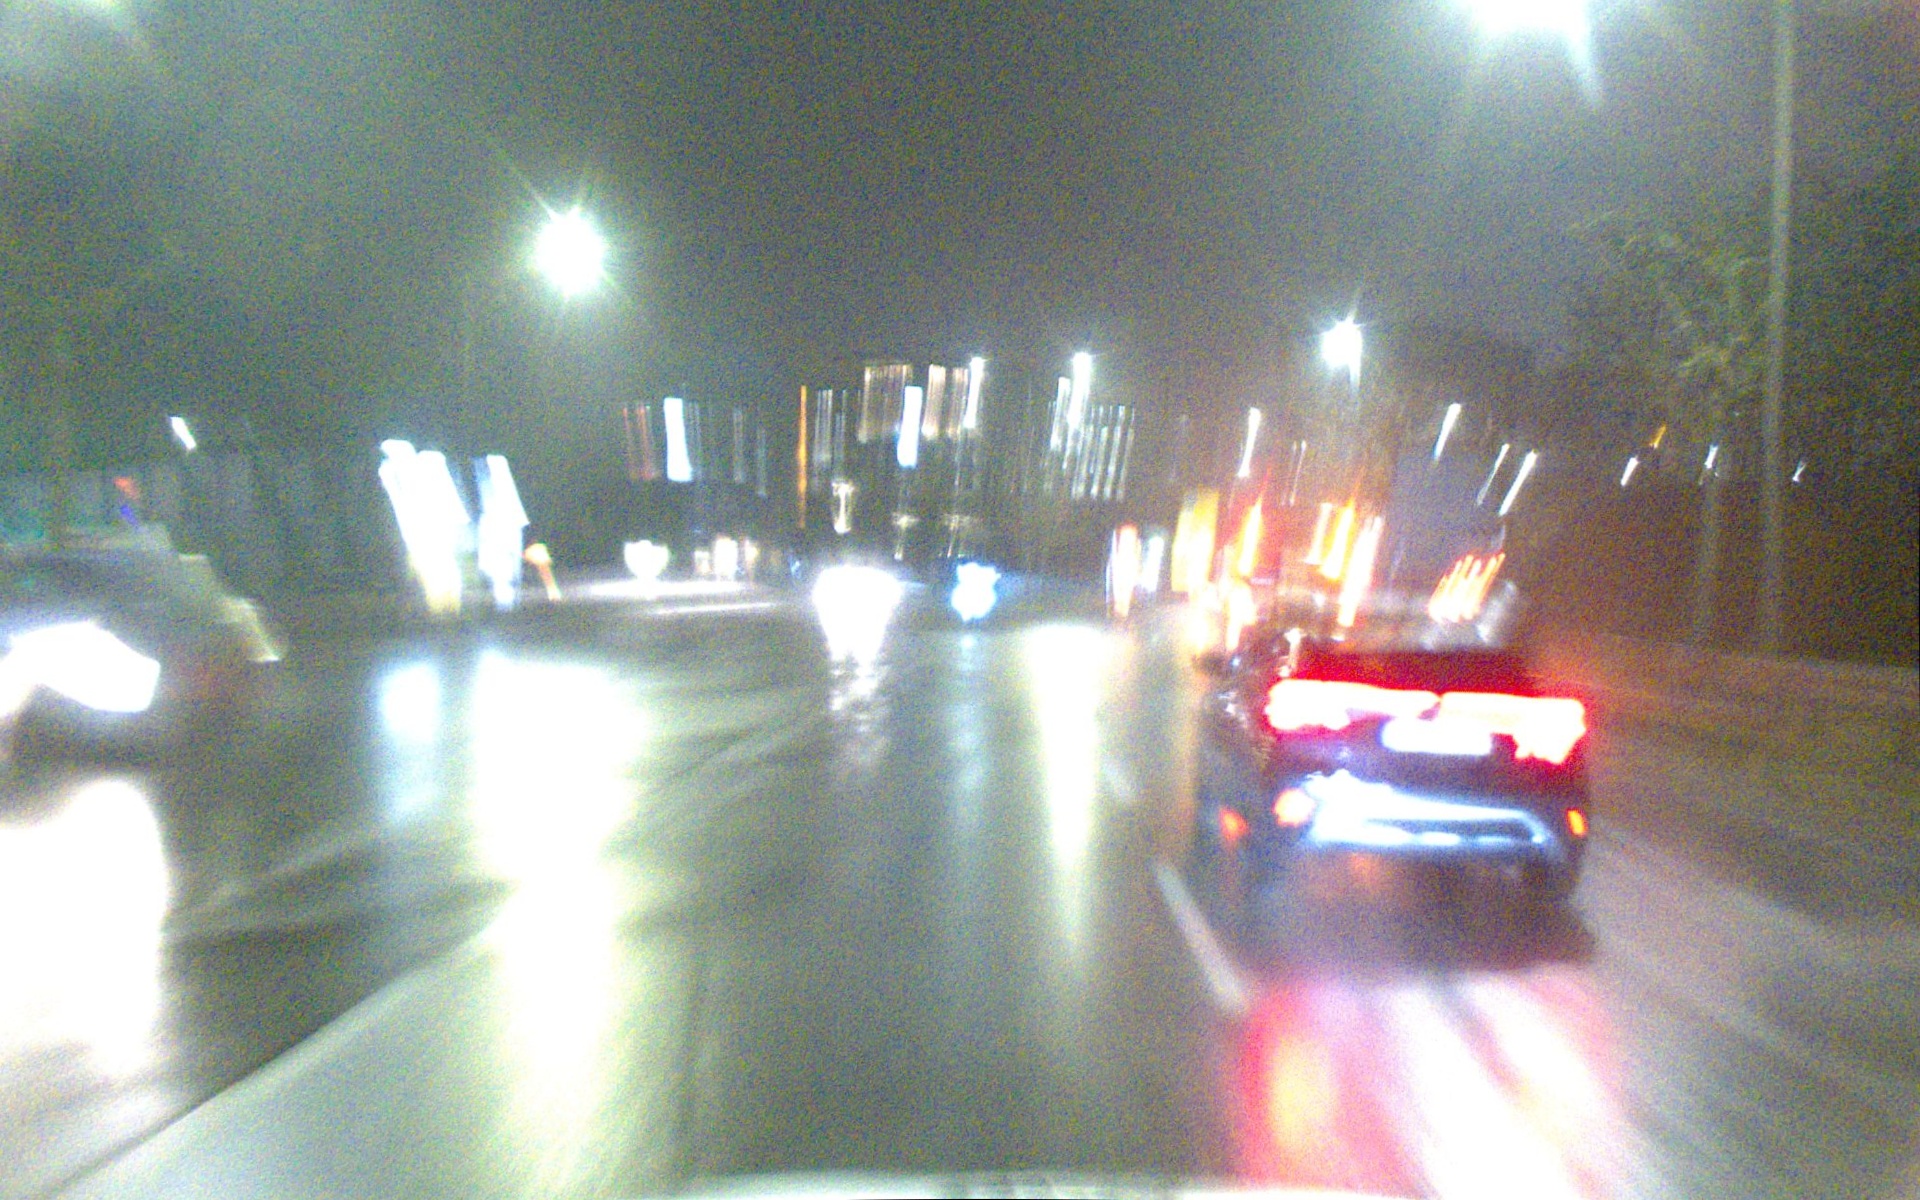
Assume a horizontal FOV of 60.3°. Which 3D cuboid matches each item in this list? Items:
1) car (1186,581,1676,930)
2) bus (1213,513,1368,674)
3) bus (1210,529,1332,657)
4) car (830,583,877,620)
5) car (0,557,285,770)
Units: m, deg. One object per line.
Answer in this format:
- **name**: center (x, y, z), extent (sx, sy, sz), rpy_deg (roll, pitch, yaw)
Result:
- **car**: center (2.475, 0.724, 9.757), extent (1.952, 1.551, 4.002), rpy_deg (2, 0, 4)
- **bus**: center (7.560, -0.146, 38.896), extent (2.979, 3.268, 9.057), rpy_deg (2, 0, 8)
- **bus**: center (8.822, -0.190, 47.840), extent (2.979, 3.268, 9.057), rpy_deg (2, 0, 8)
- **car**: center (-4.724, 0.061, 73.802), extent (1.729, 1.482, 3.953), rpy_deg (3, 0, 1)
- **car**: center (-7.297, 0.450, 13.970), extent (1.790, 1.530, 4.183), rpy_deg (0, 0, -5)
